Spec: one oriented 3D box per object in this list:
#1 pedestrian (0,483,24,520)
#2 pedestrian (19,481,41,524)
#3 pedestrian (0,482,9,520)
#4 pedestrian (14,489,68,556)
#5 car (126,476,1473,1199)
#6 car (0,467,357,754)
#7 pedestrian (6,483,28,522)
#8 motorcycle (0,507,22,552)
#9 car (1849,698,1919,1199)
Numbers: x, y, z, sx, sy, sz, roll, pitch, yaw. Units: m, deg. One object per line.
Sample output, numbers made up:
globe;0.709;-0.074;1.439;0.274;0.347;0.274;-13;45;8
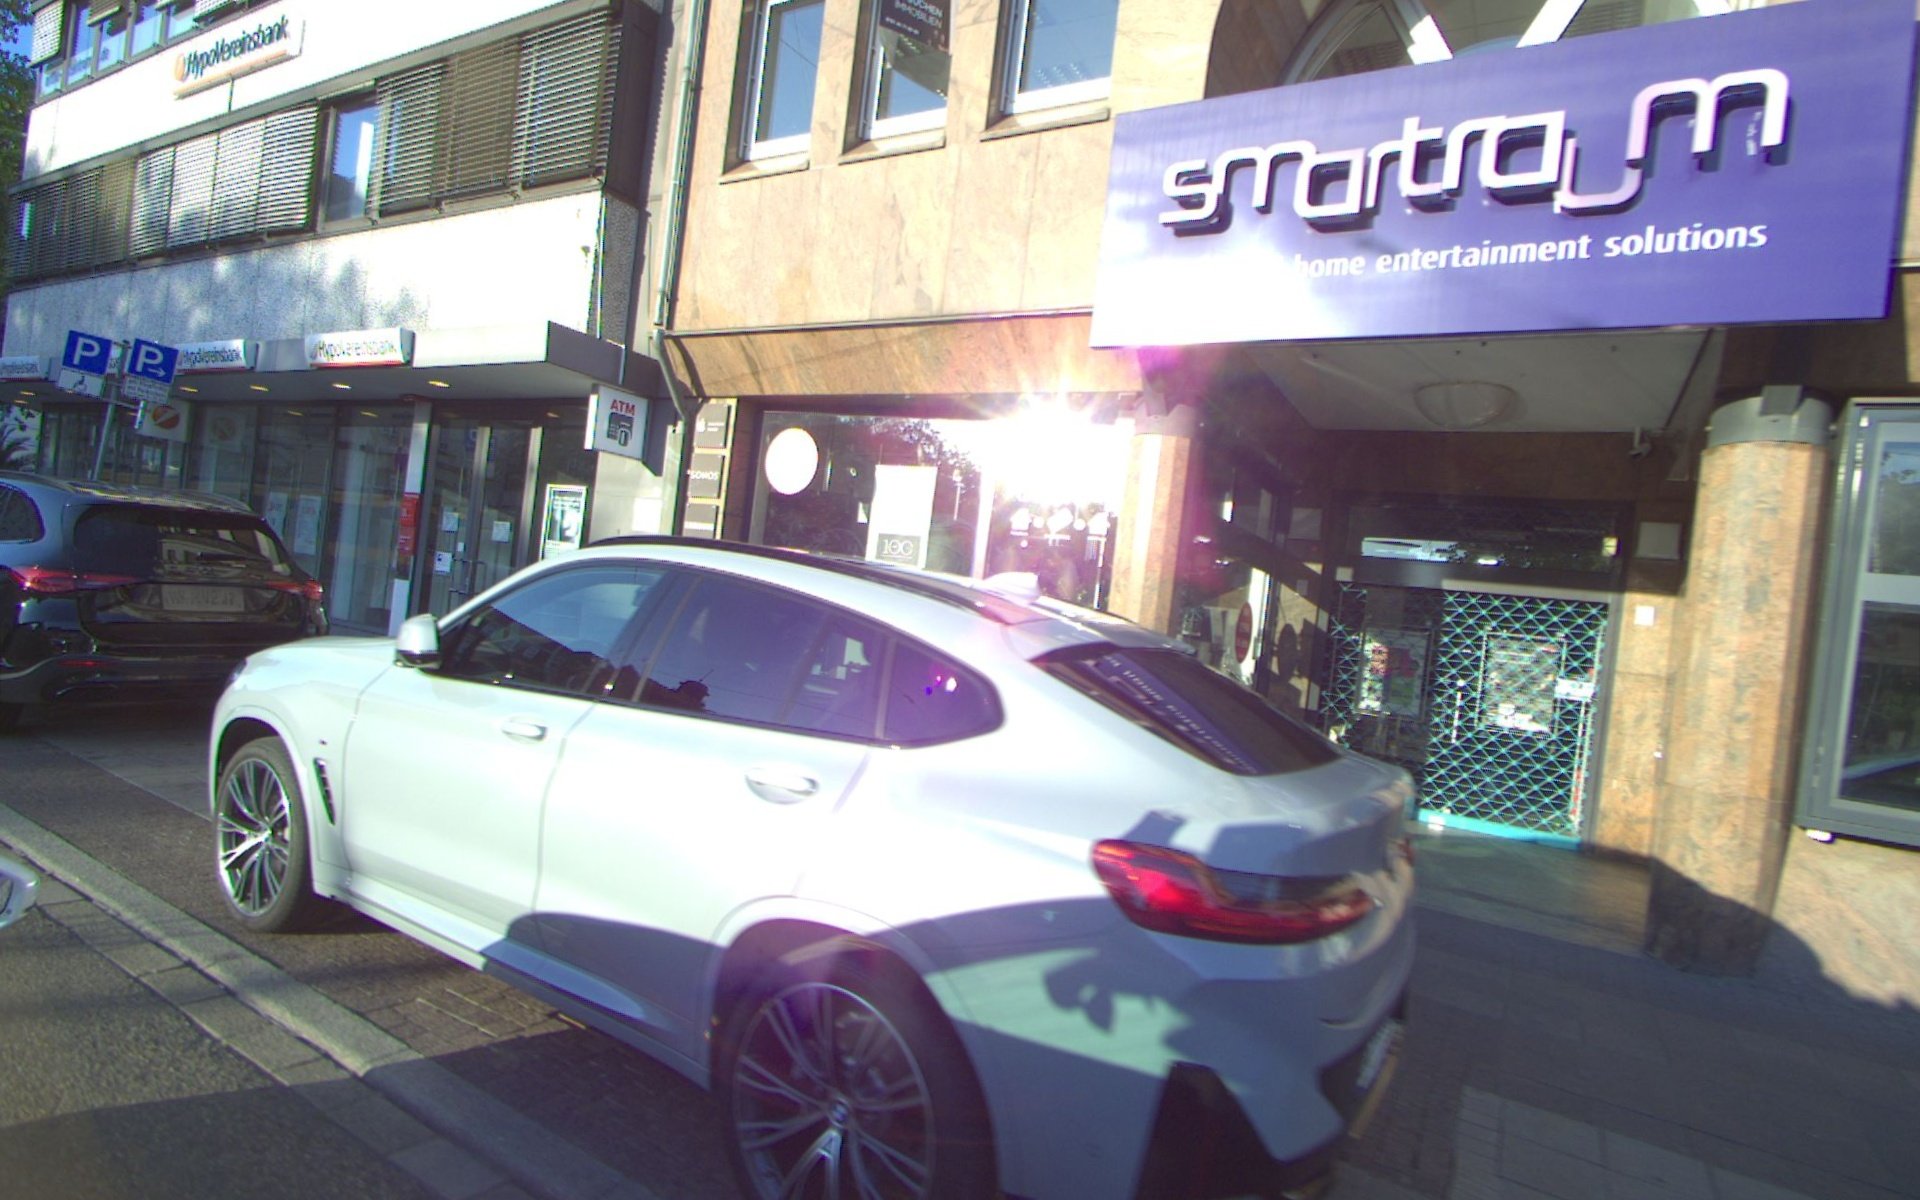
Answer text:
pedestrian;-35.449;-3.688;37.627;0.469;1.300;0.537;5;-1;41
pedestrian;-32.804;-3.434;35.502;0.472;1.416;0.534;6;-1;-42
pedestrian;-33.494;-3.459;35.012;0.472;1.300;0.534;6;-1;-42
pedestrian;-25.978;-2.177;28.447;0.647;1.762;0.823;5;0;-7
car;-0.908;0.592;3.636;4.646;1.605;1.819;7;-1;33
car;-6.669;-0.130;7.453;4.501;1.557;1.778;8;1;31
pedestrian;-33.664;-3.461;35.914;0.472;1.300;0.534;6;-1;-42
motorcycle;-29.255;-2.207;30.036;1.920;1.297;0.563;7;0;5
car;3.901;1.193;0.557;4.755;1.571;1.812;7;-1;31
